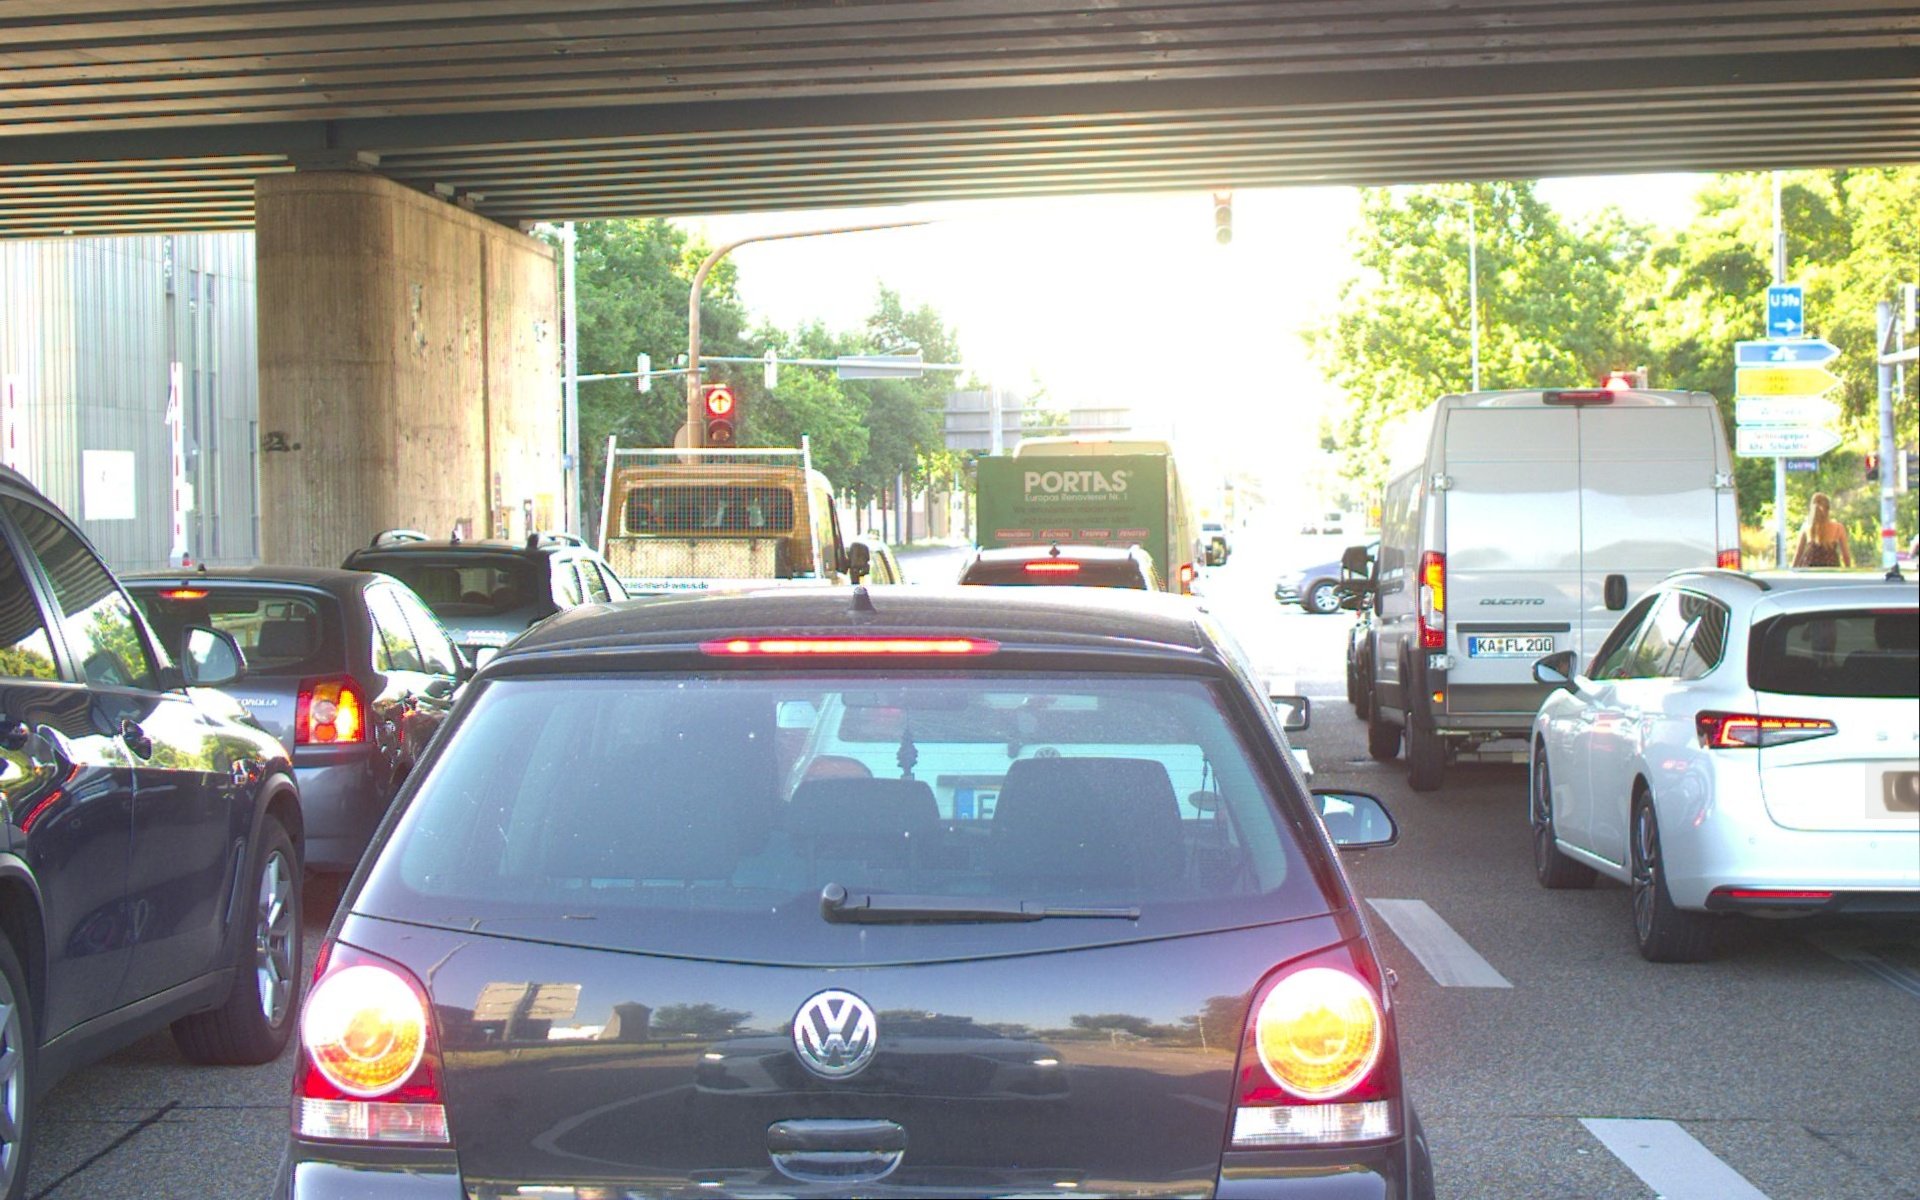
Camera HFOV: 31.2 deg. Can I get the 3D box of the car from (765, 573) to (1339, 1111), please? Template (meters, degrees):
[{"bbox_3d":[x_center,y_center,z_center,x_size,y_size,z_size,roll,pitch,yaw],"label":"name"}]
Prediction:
[{"bbox_3d":[0.299,0.656,11.233,1.547,1.418,3.417,2,1,2],"label":"car"}]

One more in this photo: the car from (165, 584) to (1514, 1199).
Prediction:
[{"bbox_3d":[-0.185,0.693,5.950,1.581,1.404,3.832,0,0,-1],"label":"car"}]

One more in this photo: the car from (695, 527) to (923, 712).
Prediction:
[{"bbox_3d":[-1.584,0.211,37.525,1.994,1.894,3.999,-1,0,5],"label":"car"}]

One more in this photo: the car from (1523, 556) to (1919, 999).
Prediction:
[{"bbox_3d":[3.386,0.598,13.648,1.772,1.490,3.831,-2,0,2],"label":"car"}]

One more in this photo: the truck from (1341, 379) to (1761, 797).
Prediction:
[{"bbox_3d":[3.888,-0.077,23.406,2.111,2.511,4.401,-2,0,1],"label":"truck"}]

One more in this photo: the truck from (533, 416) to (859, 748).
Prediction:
[{"bbox_3d":[-2.123,-0.135,29.327,2.028,2.548,5.536,0,0,3],"label":"truck"}]

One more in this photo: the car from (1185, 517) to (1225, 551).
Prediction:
[{"bbox_3d":[10.070,-2.696,141.416,1.339,1.277,2.893,-4,0,-1],"label":"car"}]

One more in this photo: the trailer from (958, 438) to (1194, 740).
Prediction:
[{"bbox_3d":[1.088,-0.086,30.490,1.864,2.456,3.831,-2,0,4],"label":"trailer"}]

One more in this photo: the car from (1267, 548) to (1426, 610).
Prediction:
[{"bbox_3d":[7.001,-0.377,62.284,2.823,1.077,1.218,0,0,7],"label":"car"}]

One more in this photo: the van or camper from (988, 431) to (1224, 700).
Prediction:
[{"bbox_3d":[1.618,-0.329,35.833,1.994,2.562,5.916,0,0,7],"label":"van or camper"}]

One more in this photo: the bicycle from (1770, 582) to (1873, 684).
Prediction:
[{"bbox_3d":[8.537,0.317,34.152,0.579,0.960,2.885,-1,0,6],"label":"bicycle"}]

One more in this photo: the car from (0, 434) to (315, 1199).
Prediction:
[{"bbox_3d":[-2.913,0.530,8.319,1.829,1.732,4.461,-1,0,0],"label":"car"}]

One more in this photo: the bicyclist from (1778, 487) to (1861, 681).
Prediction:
[{"bbox_3d":[8.531,-0.154,34.142,0.682,1.900,0.833,0,0,6],"label":"bicyclist"}]

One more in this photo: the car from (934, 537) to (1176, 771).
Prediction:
[{"bbox_3d":[0.712,0.361,24.460,1.582,1.527,3.831,0,0,3],"label":"car"}]

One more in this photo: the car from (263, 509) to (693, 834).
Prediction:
[{"bbox_3d":[-2.858,0.394,21.275,1.841,1.713,4.000,-4,0,2],"label":"car"}]

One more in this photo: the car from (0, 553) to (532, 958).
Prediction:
[{"bbox_3d":[-3.027,0.597,14.848,1.841,1.435,3.675,-4,0,0],"label":"car"}]
